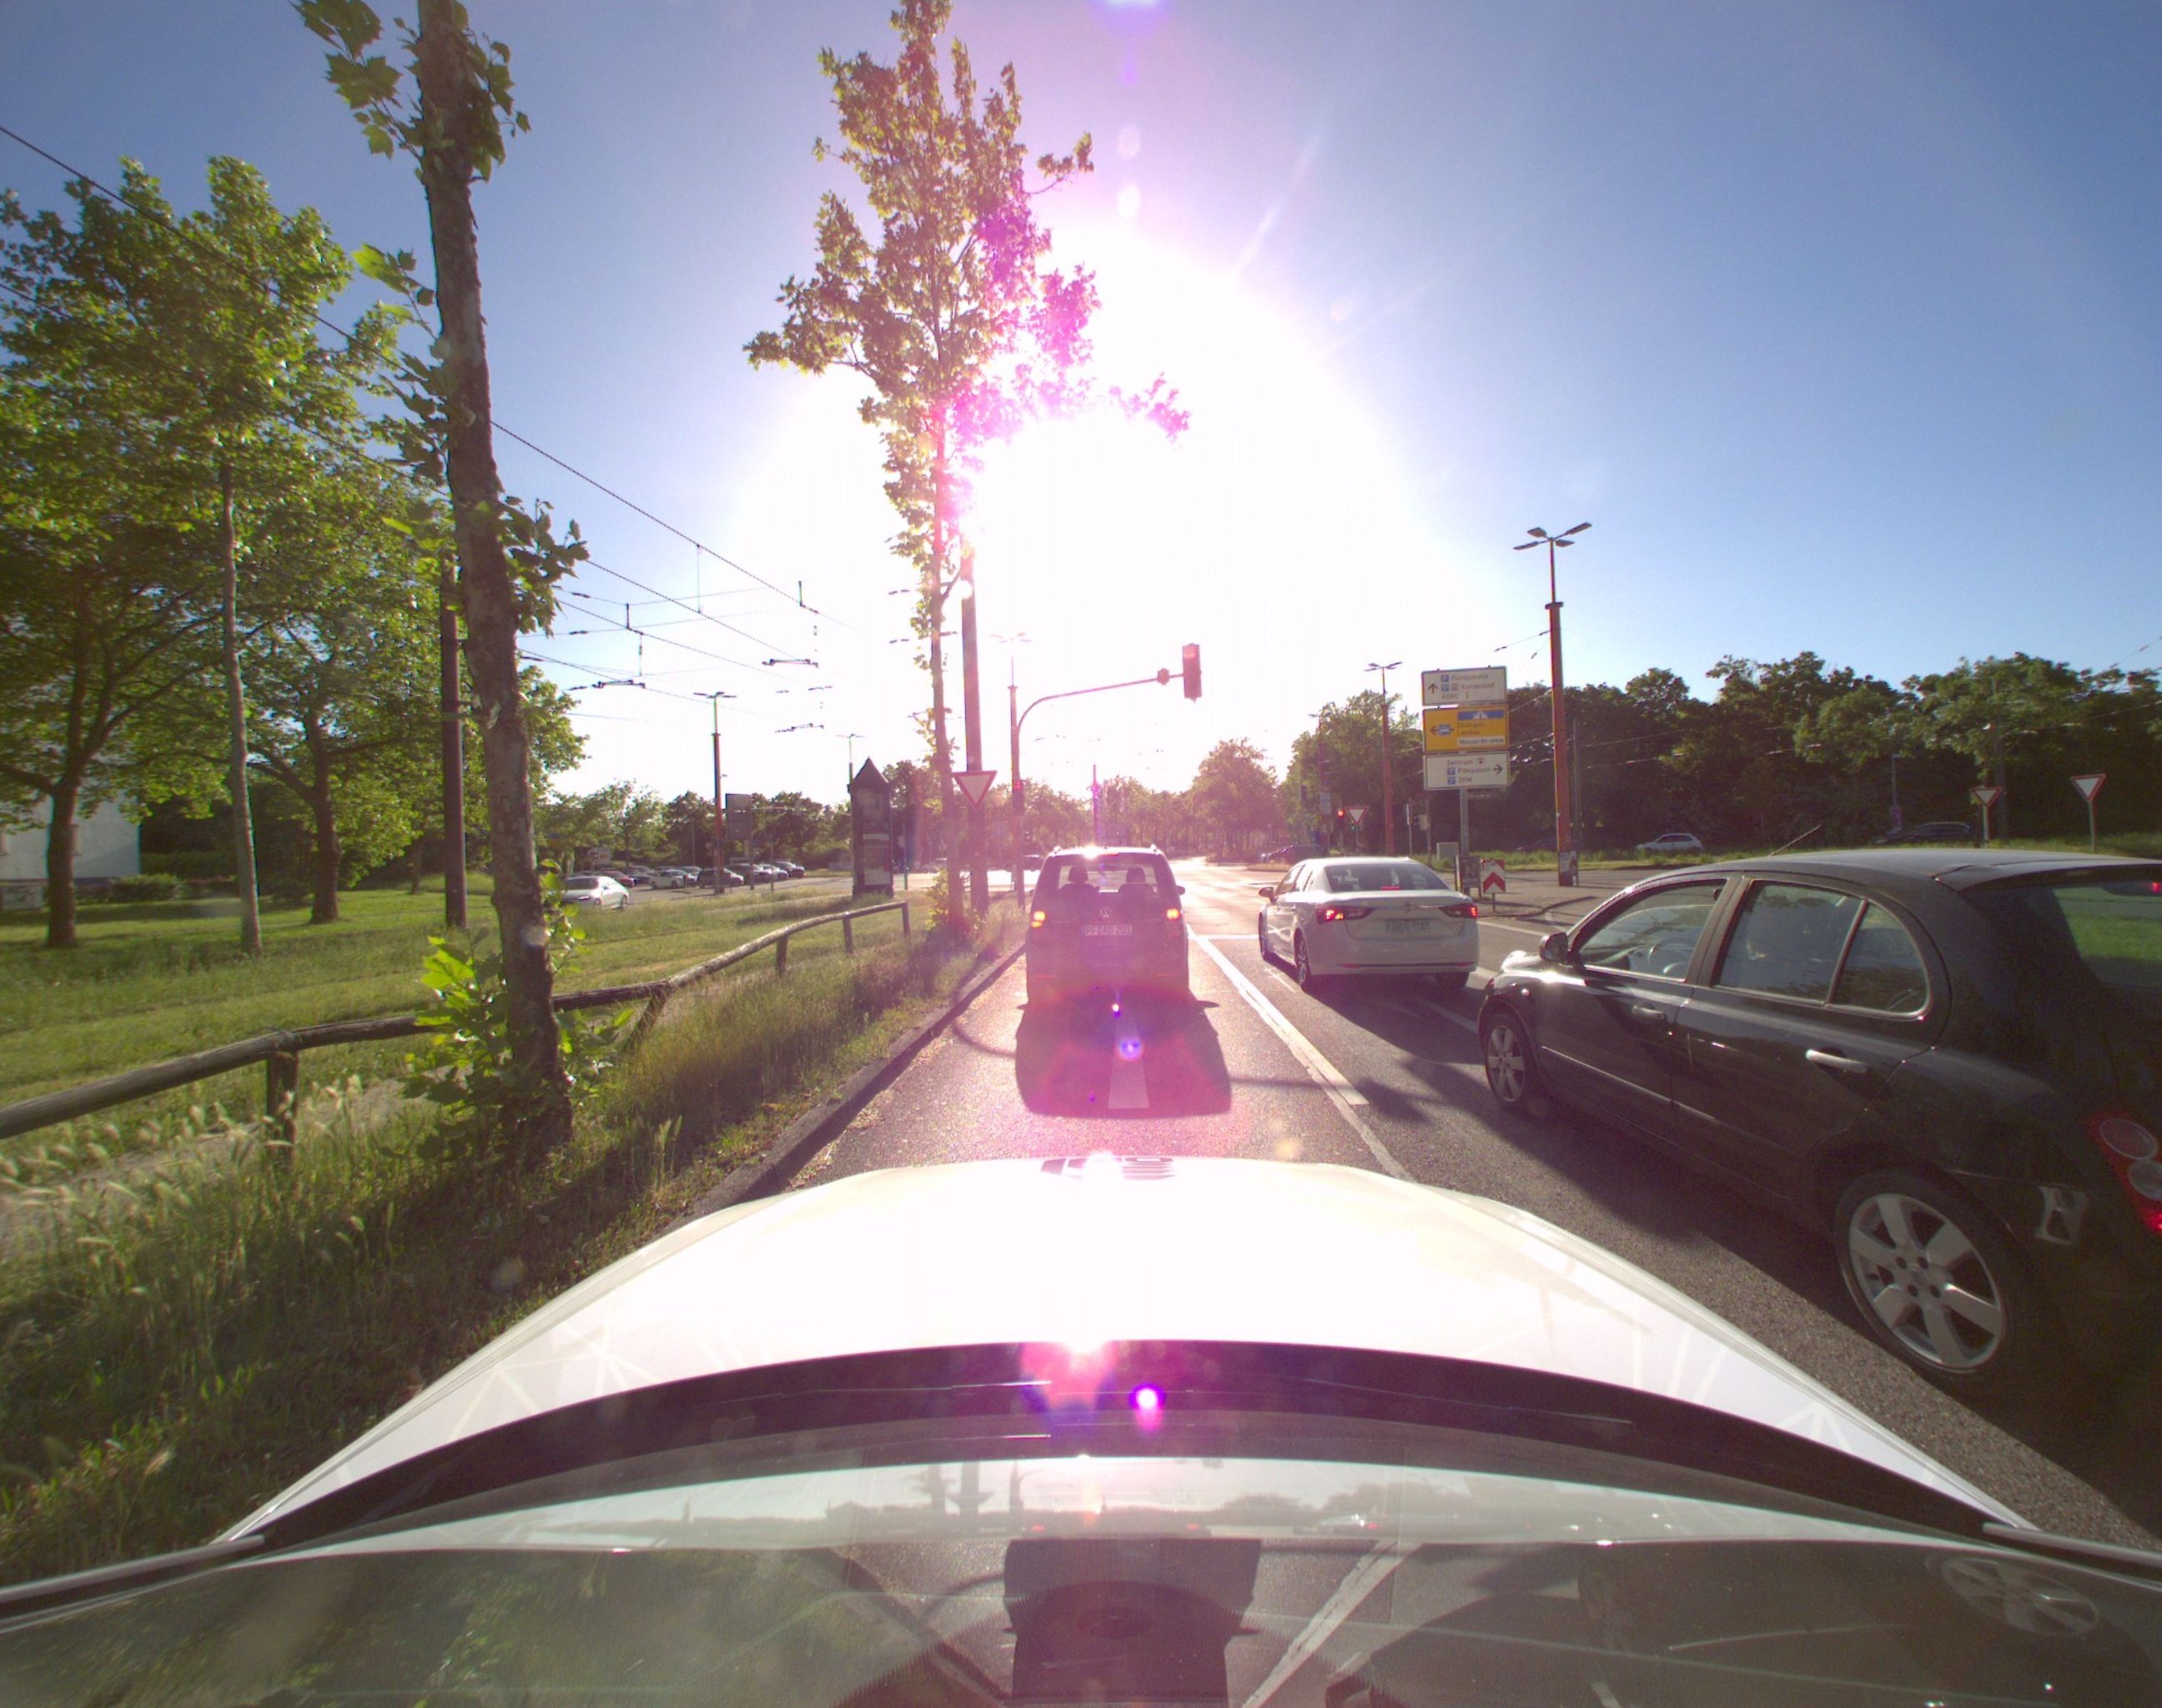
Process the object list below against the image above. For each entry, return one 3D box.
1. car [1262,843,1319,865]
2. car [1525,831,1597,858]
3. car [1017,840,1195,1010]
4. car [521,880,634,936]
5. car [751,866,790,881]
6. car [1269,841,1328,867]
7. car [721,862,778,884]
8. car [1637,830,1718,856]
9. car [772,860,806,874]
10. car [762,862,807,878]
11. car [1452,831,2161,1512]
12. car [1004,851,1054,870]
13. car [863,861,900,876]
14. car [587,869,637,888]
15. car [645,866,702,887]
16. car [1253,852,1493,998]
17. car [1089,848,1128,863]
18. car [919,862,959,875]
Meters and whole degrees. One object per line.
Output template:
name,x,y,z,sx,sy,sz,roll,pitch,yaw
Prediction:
car,17.114,-0.032,66.504,4.188,1.681,1.713,-2,0,31
car,33.733,-0.653,57.284,4.249,1.705,1.858,-2,0,31
car,0.299,0.701,9.940,1.694,1.621,3.898,-2,0,1
car,-18.570,1.909,30.317,1.995,1.731,4.826,-1,0,-12
car,-26.367,1.650,69.160,3.129,1.198,1.539,-2,0,33
car,16.869,0.020,63.137,4.154,1.883,1.777,-2,0,25
car,-26.594,1.536,65.329,3.950,1.644,2.012,-2,0,26
car,37.581,-0.689,51.442,3.961,1.527,1.718,-2,0,30
car,-34.083,1.505,95.013,3.700,1.473,1.610,-2,0,28
car,-26.531,1.473,72.842,3.948,1.330,1.709,-2,0,33
car,3.215,0.691,3.582,1.647,1.500,3.617,-1,0,2
car,-4.750,0.608,74.553,3.987,1.596,2.012,-2,0,25
car,-19.990,1.436,81.495,3.363,1.457,1.473,-2,0,25
car,-39.367,2.052,68.359,3.949,1.513,1.743,-2,0,27
car,-32.342,1.779,64.662,4.135,1.612,1.880,-2,0,27
car,3.327,0.709,10.164,1.713,1.438,4.202,-1,0,3
car,2.504,0.158,74.703,3.404,1.368,1.298,0,-1,28
car,-14.641,1.500,83.945,3.792,1.264,1.613,0,-1,28
